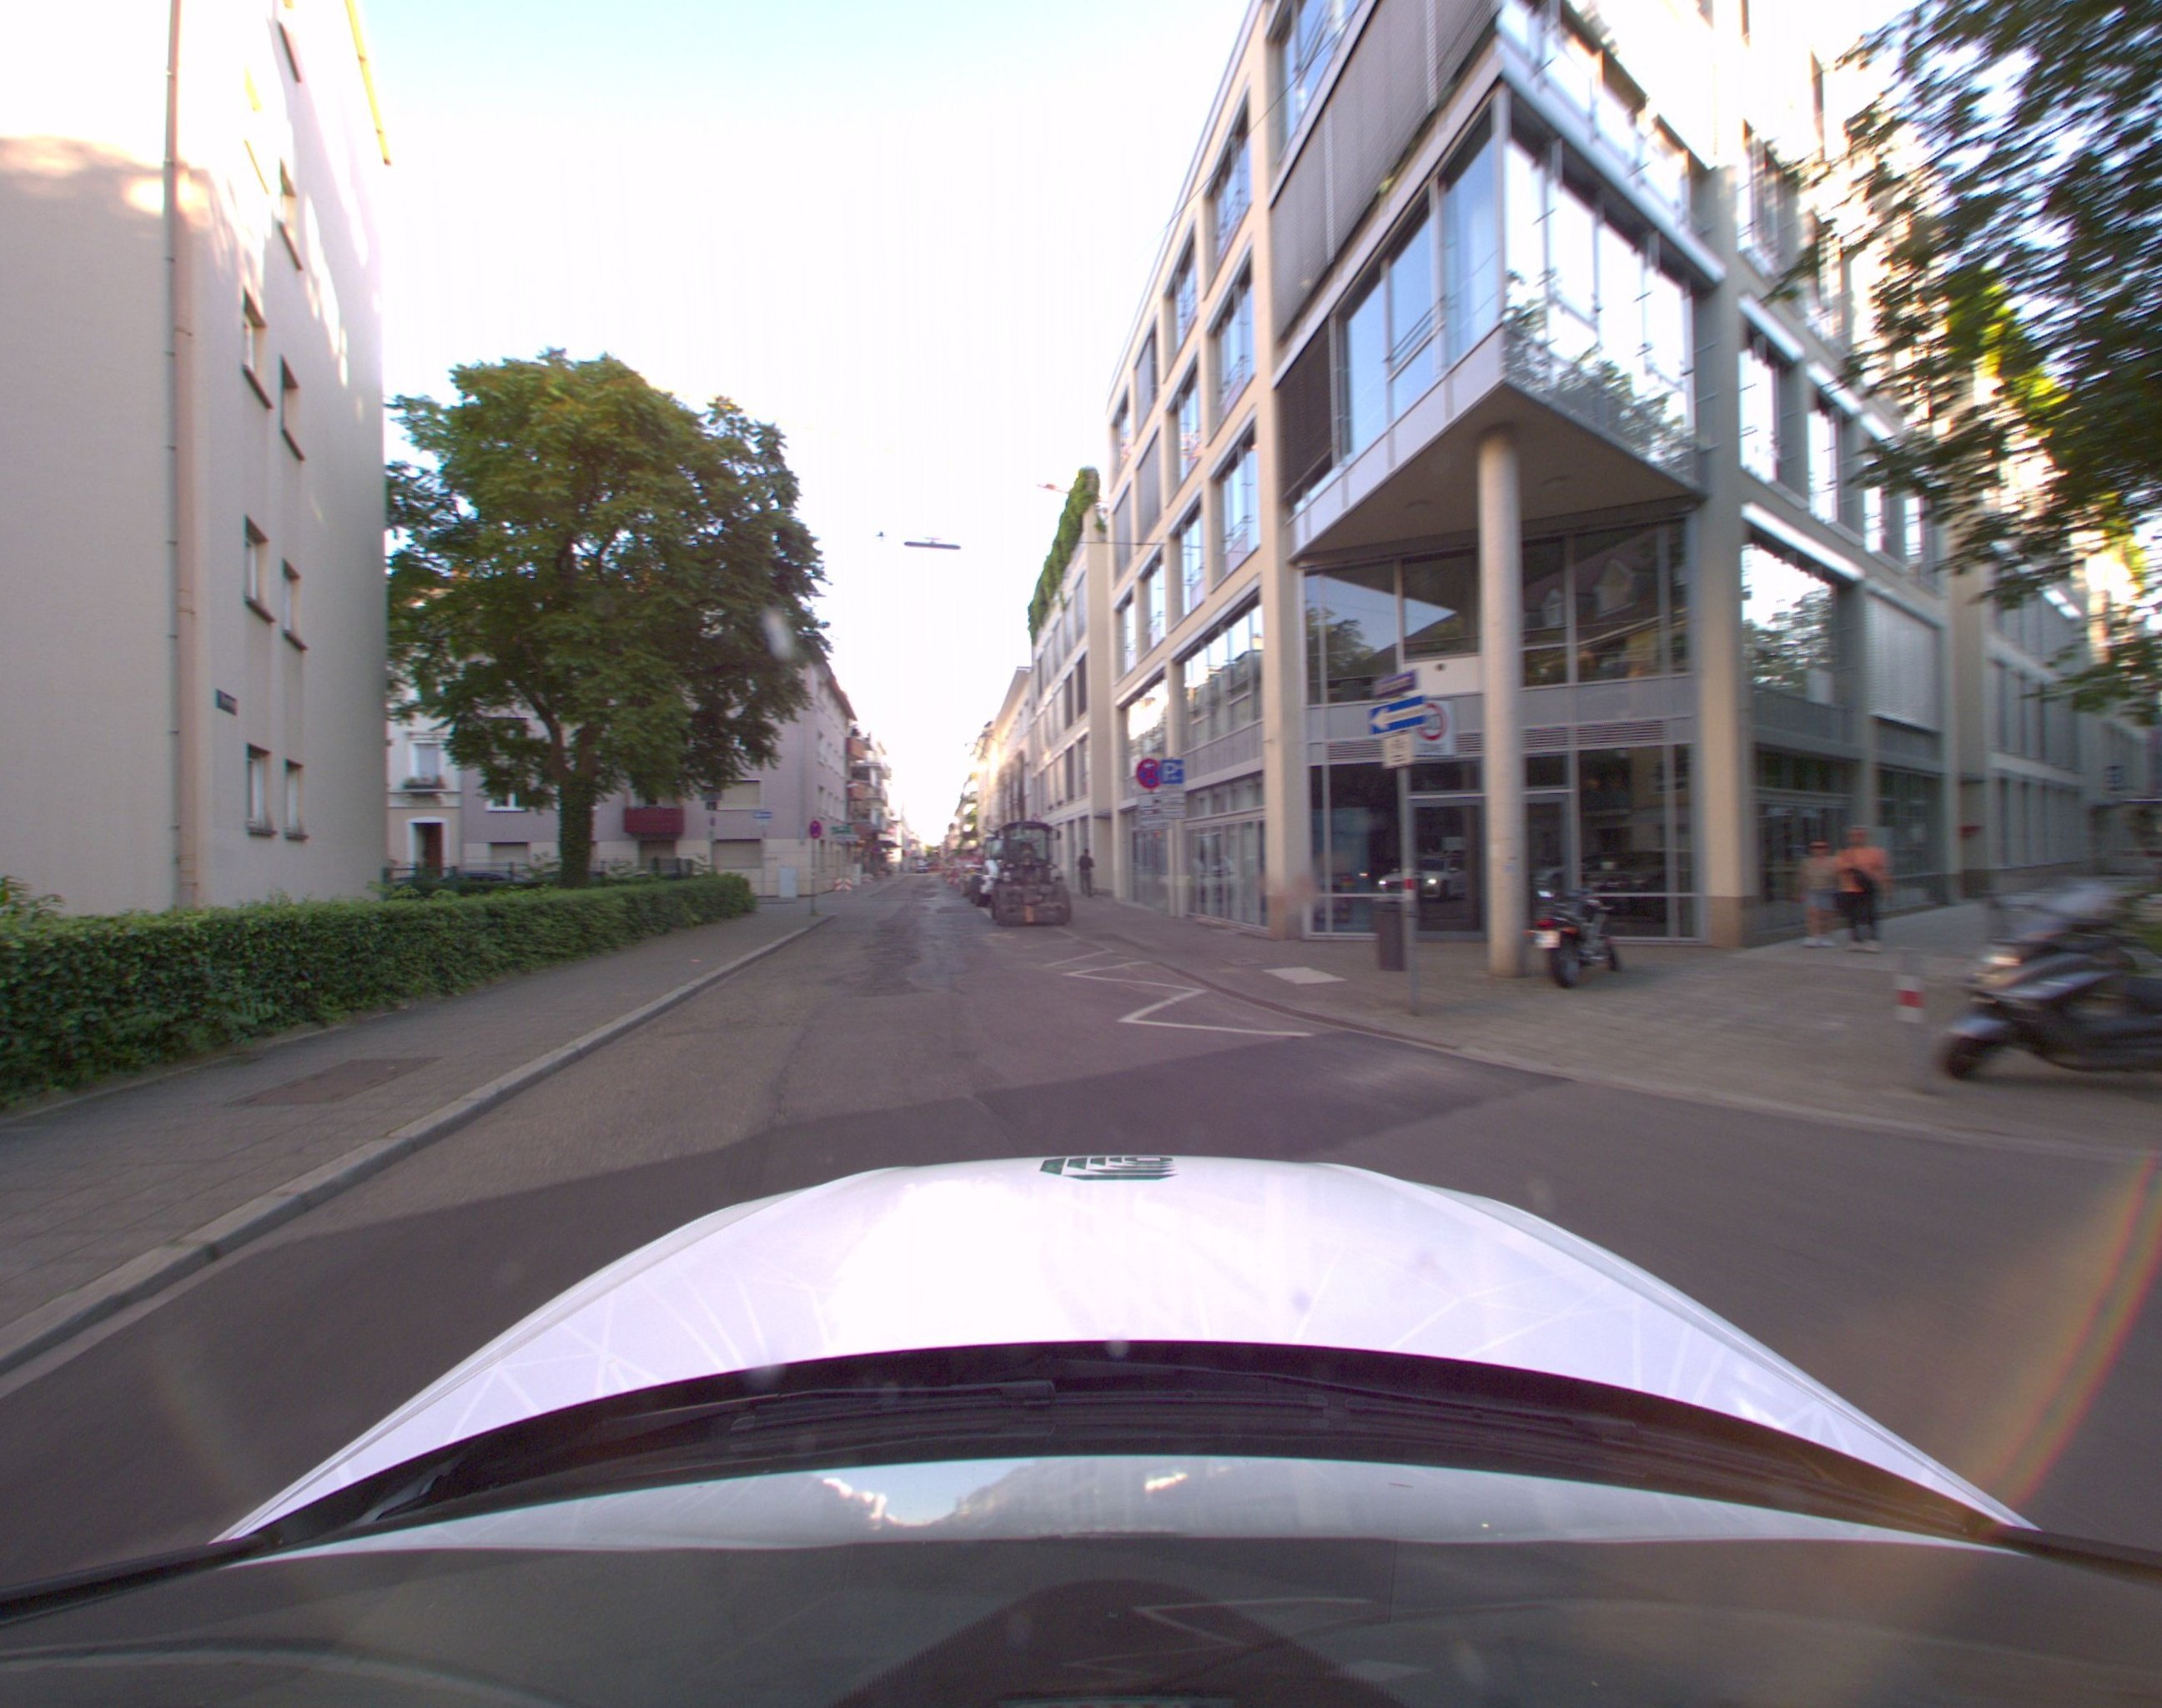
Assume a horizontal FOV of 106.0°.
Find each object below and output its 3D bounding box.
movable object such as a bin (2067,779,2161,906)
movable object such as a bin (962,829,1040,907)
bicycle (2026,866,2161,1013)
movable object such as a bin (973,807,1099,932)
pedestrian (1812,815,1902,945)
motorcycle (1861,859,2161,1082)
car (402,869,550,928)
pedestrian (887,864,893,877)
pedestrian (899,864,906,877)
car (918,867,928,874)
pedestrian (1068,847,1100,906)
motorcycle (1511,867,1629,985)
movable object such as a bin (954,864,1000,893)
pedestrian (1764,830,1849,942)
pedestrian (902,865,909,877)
[{"bbox_3d":[21.968,-0.269,15.491,2.798,2.383,4.012,-1,0,-39],"label":"movable object such as a bin"},{"bbox_3d":[-2.954,0.468,29.308,2.279,2.540,4.080,-2,0,-13],"label":"movable object such as a bin"},{"bbox_3d":[9.560,0.725,7.598,1.988,1.152,0.678,-2,0,-33],"label":"bicycle"},{"bbox_3d":[-1.343,0.354,20.707,2.279,2.692,5.624,-2,0,-12],"label":"movable object such as a bin"},{"bbox_3d":[10.569,0.344,11.100,0.609,1.690,0.734,-1,-1,-32],"label":"pedestrian"},{"bbox_3d":[6.795,0.691,5.228,2.331,1.282,1.072,-2,0,16],"label":"motorcycle"},{"bbox_3d":[-20.423,1.464,27.659,3.526,1.757,1.877,-1,1,-14],"label":"car"},{"bbox_3d":[-23.159,2.004,98.745,0.662,1.438,0.533,-2,-1,1],"label":"pedestrian"},{"bbox_3d":[-23.091,2.135,105.190,0.797,1.661,0.742,-1,-1,-8],"label":"pedestrian"},{"bbox_3d":[-26.199,2.775,134.990,1.539,1.134,3.106,-1,0,-14],"label":"car"},{"bbox_3d":[0.087,0.727,26.451,0.887,1.851,0.873,-1,-1,-8],"label":"pedestrian"},{"bbox_3d":[5.811,0.780,9.608,2.321,1.172,0.551,-1,-1,-43],"label":"motorcycle"},{"bbox_3d":[-5.481,1.241,42.503,2.048,1.411,3.957,-2,0,-13],"label":"movable object such as a bin"},{"bbox_3d":[10.446,0.445,11.731,0.645,1.536,0.764,-1,-1,-36],"label":"pedestrian"},{"bbox_3d":[-23.428,2.320,108.803,0.797,1.594,0.742,-2,-1,-8],"label":"pedestrian"}]
